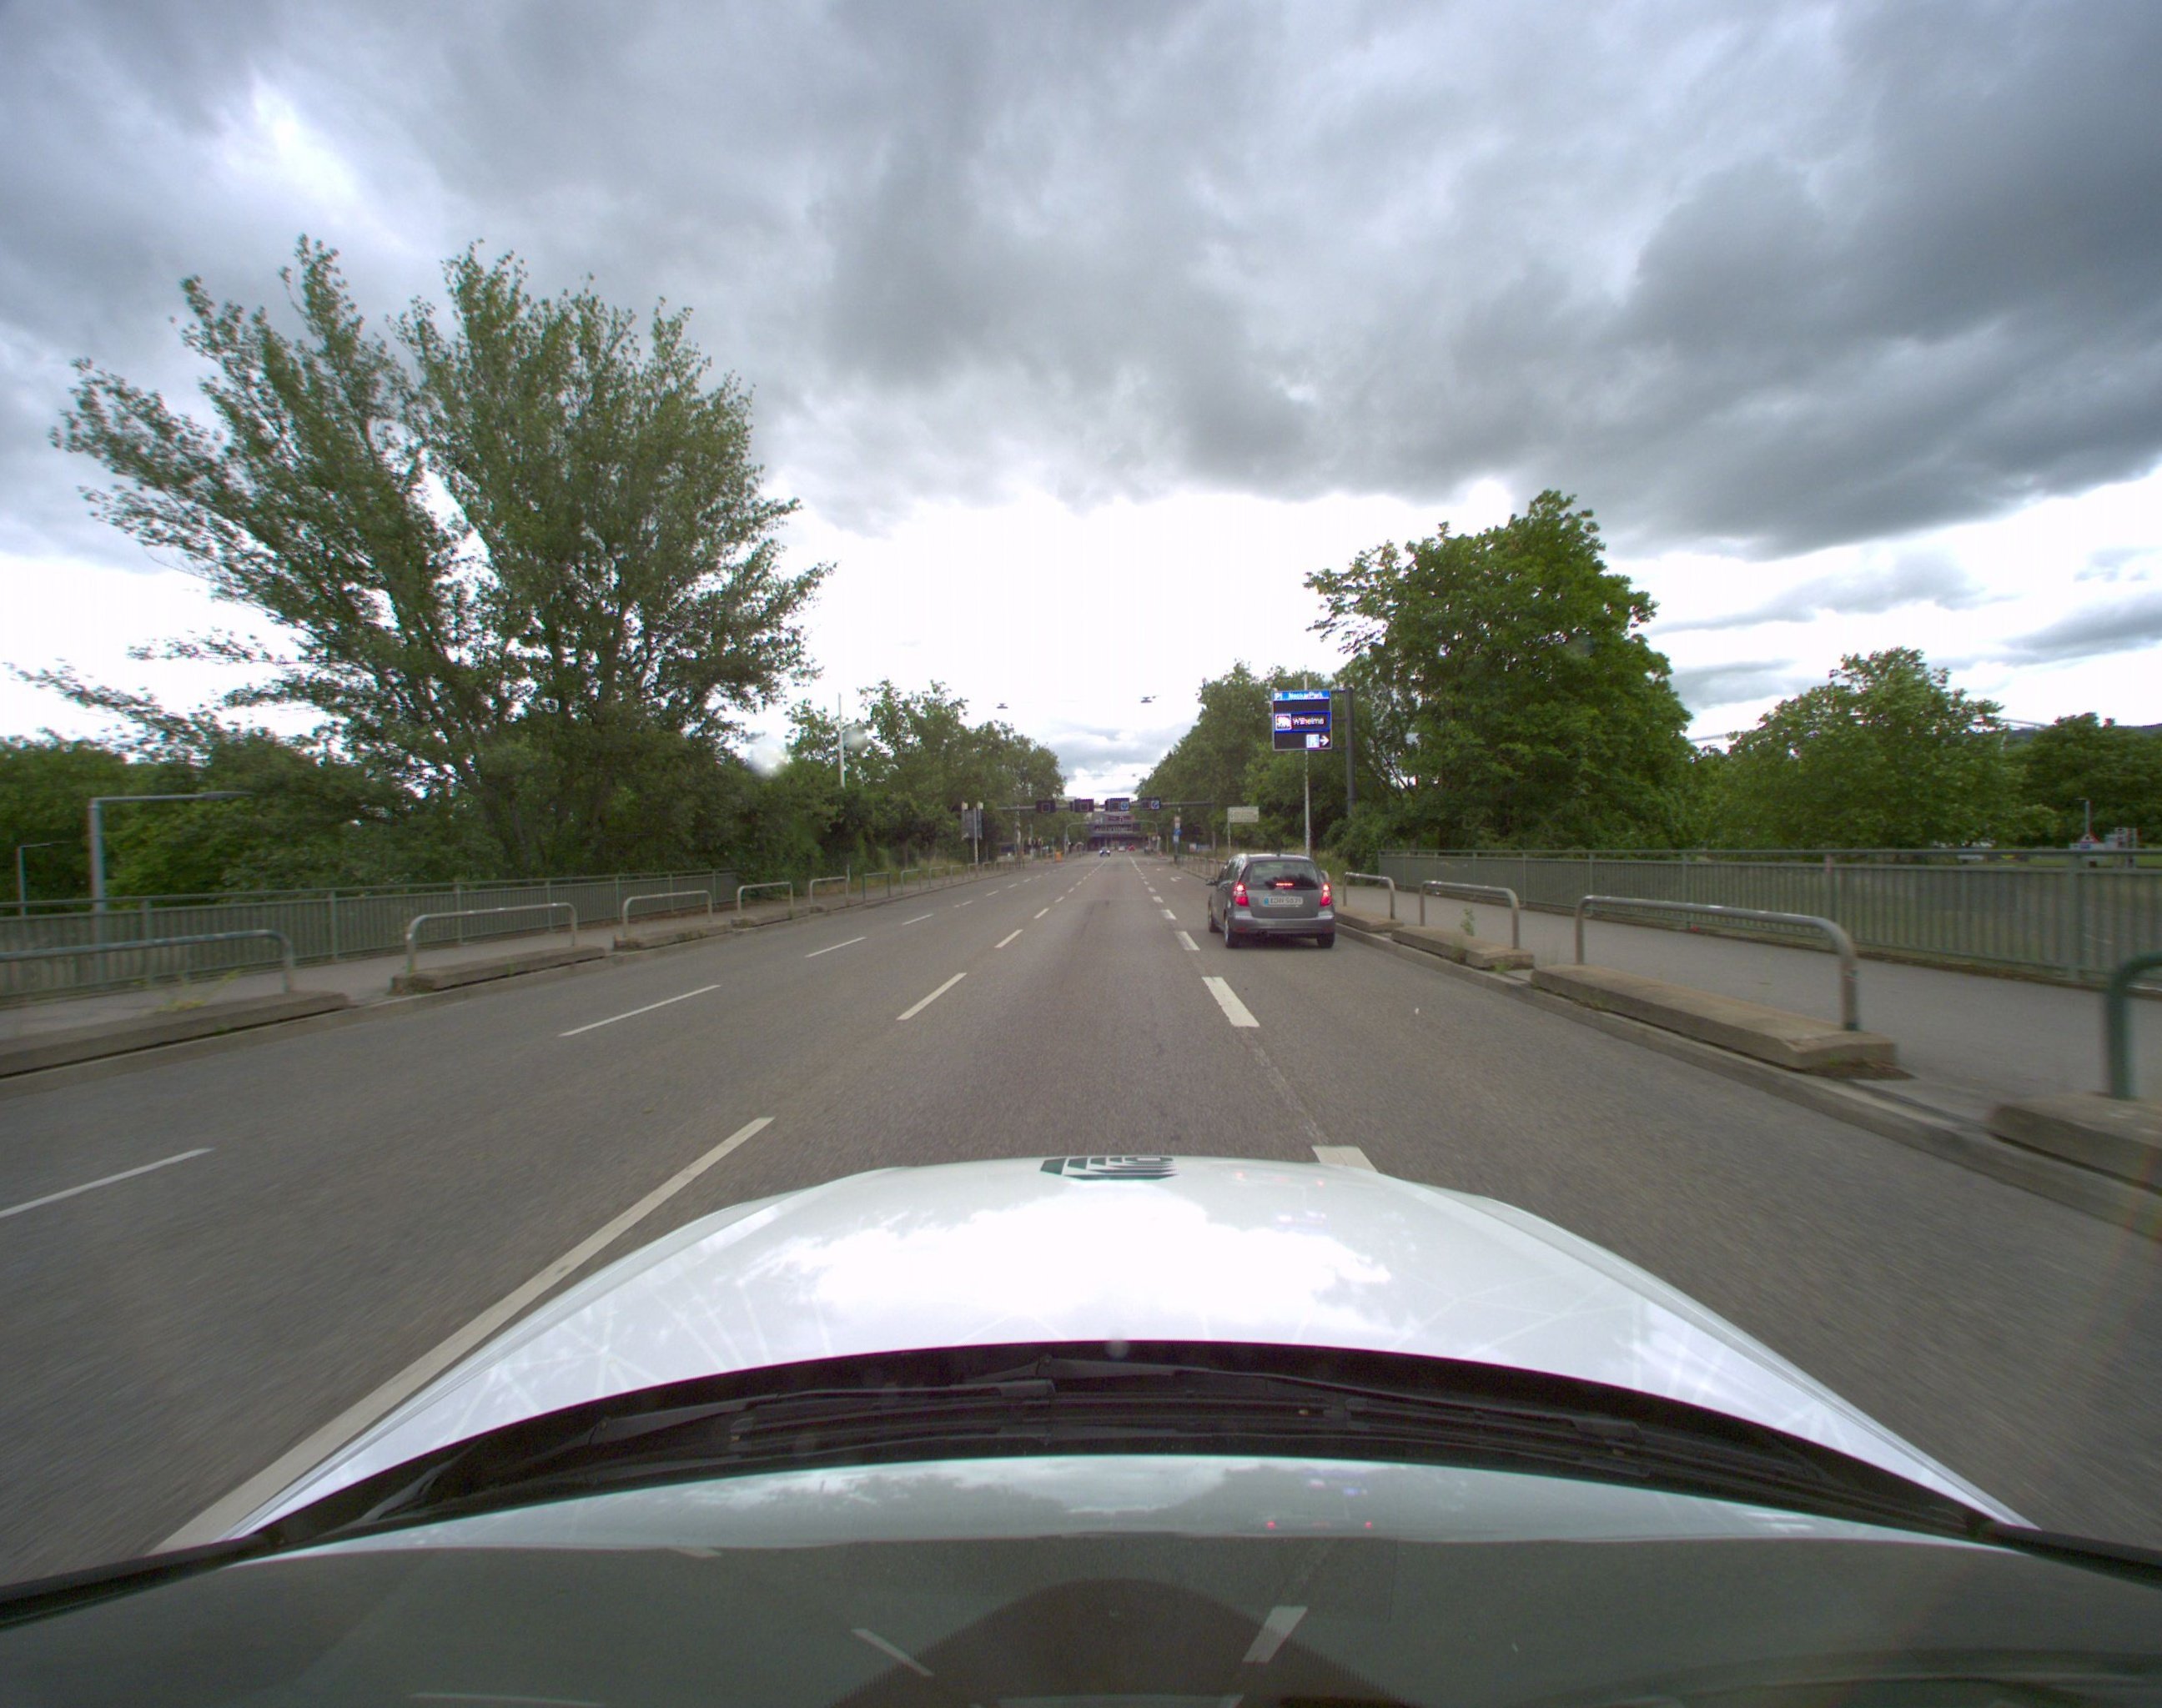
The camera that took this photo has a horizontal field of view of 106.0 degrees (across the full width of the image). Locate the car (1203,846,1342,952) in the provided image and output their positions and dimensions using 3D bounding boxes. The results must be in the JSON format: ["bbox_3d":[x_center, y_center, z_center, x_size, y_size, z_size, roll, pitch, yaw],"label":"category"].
[{"bbox_3d":[3.280,0.692,14.688,1.818,1.616,4.039,-1,0,4],"label":"car"}]

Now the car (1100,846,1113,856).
[{"bbox_3d":[4.737,-0.526,152.581,1.983,1.660,4.525,-3,0,6],"label":"car"}]

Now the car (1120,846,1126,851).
[{"bbox_3d":[12.904,-1.737,252.891,1.770,1.460,3.826,0,1,4],"label":"car"}]
